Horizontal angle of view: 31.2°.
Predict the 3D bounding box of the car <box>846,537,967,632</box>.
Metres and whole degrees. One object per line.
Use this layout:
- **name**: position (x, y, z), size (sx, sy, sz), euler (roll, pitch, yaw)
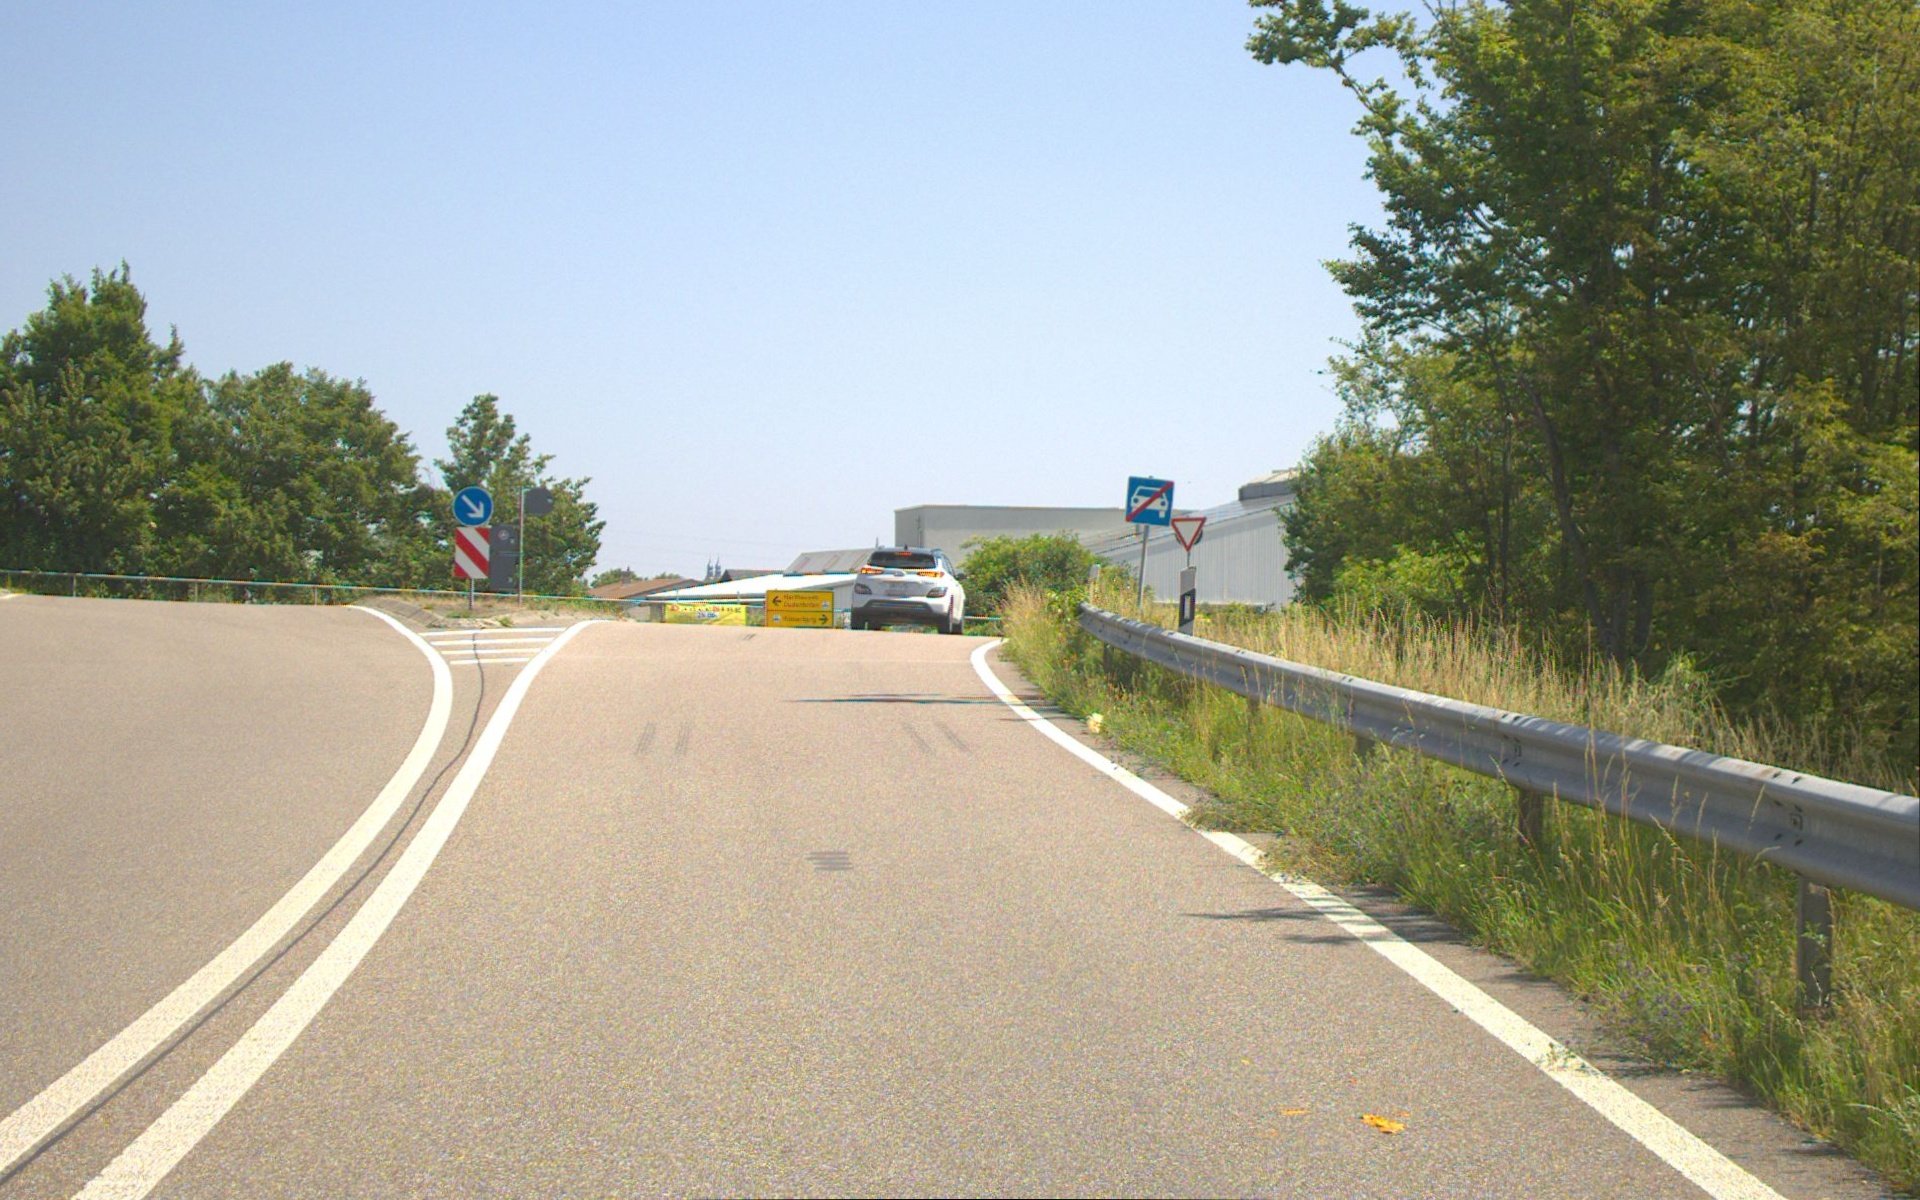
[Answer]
- **car**: position (-0.945, -0.259, 63.246), size (1.809, 1.685, 3.999), euler (0, -1, 5)
